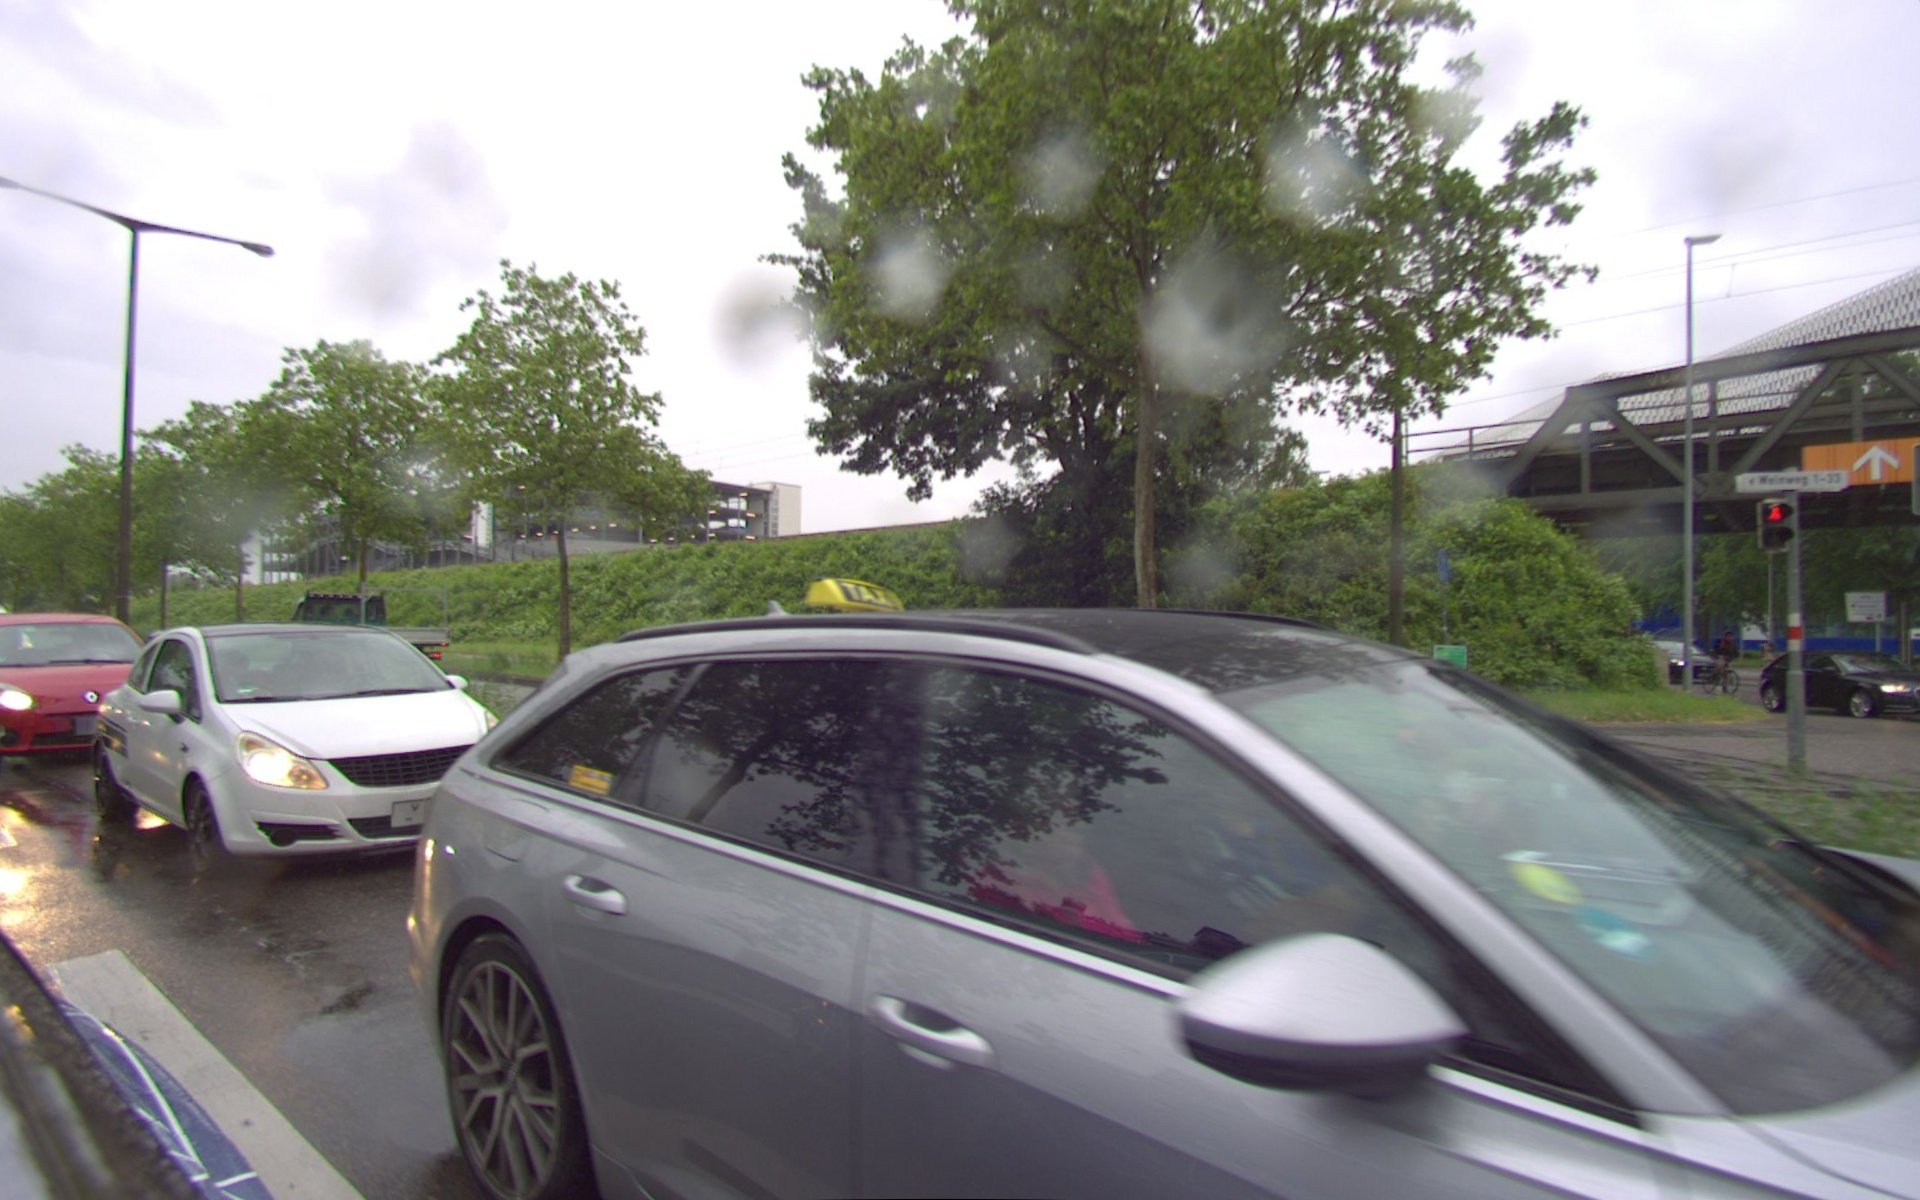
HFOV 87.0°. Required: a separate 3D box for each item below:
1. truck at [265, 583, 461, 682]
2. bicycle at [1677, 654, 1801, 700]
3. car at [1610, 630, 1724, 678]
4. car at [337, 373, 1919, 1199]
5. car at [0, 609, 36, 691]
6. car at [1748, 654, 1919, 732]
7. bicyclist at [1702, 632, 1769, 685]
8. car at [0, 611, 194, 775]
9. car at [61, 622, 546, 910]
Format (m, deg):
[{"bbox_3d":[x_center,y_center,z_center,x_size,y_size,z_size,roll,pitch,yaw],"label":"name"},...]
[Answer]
[{"bbox_3d":[-16.429,0.867,27.642,6.862,2.383,2.449,-1,-2,40],"label":"truck"},{"bbox_3d":[22.766,2.221,29.716,1.185,1.213,3.443,1,-2,5],"label":"bicycle"},{"bbox_3d":[25.446,1.913,36.594,1.634,1.612,3.903,1,-2,5],"label":"car"},{"bbox_3d":[0.671,0.632,1.927,4.817,1.586,1.751,-1,0,40],"label":"car"},{"bbox_3d":[-20.982,1.033,21.250,4.144,1.624,1.808,-1,0,40],"label":"car"},{"bbox_3d":[19.094,1.888,21.418,1.671,1.445,4.143,0,-2,3],"label":"car"},{"bbox_3d":[22.773,1.705,29.736,1.138,1.495,1.055,1,-2,6],"label":"bicyclist"},{"bbox_3d":[-9.917,0.884,11.024,4.090,1.476,1.702,-1,0,41],"label":"car"},{"bbox_3d":[-4.654,0.868,6.940,4.007,1.387,1.662,-1,0,39],"label":"car"}]
